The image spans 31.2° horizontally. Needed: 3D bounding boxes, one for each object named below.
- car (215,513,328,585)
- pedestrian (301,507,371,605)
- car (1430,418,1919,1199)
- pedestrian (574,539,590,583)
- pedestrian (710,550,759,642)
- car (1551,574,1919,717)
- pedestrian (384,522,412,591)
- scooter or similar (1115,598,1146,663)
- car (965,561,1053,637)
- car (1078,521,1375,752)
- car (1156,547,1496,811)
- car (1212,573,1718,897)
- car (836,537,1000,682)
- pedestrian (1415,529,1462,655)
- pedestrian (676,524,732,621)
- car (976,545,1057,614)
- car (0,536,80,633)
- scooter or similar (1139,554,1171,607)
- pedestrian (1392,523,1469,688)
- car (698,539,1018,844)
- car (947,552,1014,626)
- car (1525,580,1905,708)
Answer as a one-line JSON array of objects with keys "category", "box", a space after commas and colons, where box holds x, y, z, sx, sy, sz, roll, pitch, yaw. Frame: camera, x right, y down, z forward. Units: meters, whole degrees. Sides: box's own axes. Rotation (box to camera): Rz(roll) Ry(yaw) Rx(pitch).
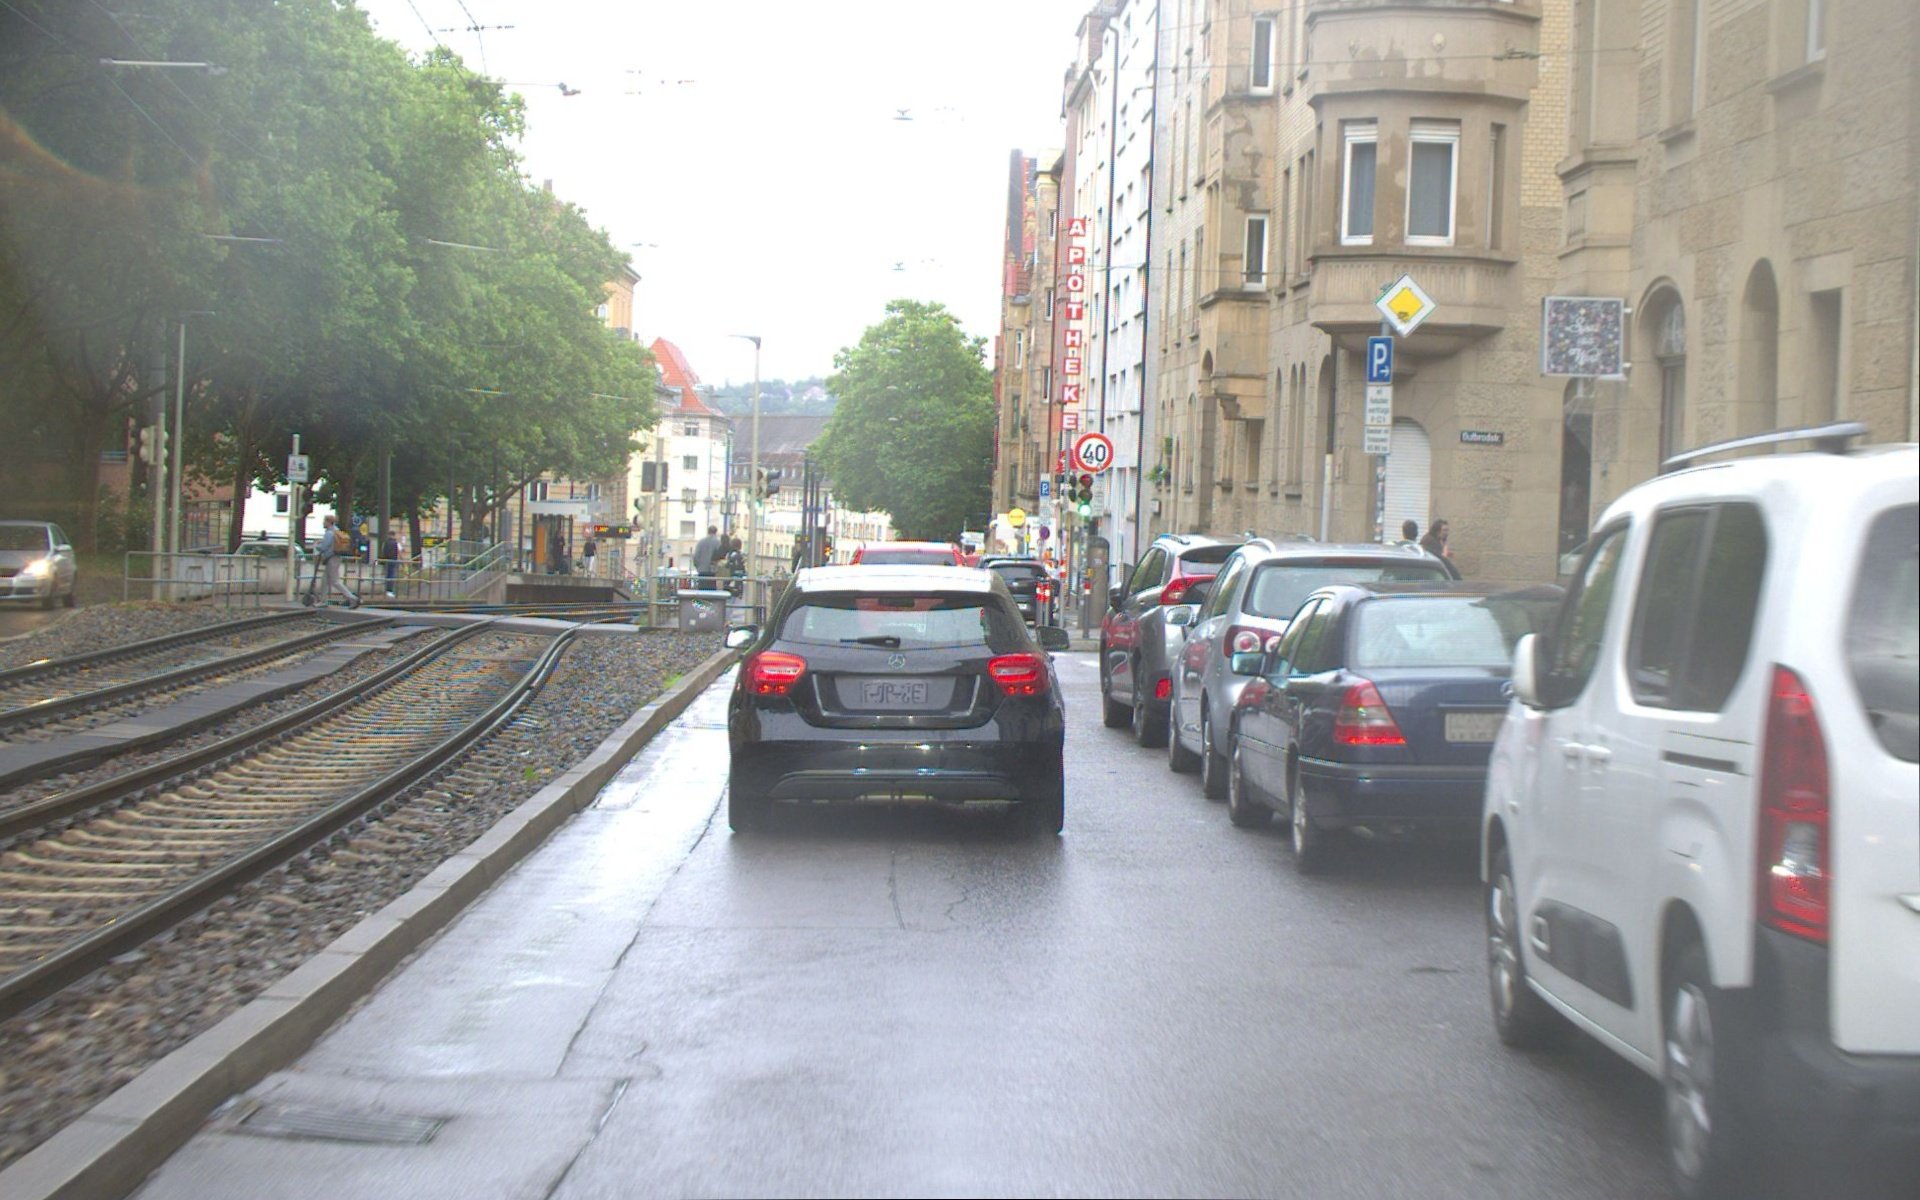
[{"category": "car", "box": [-17.449, -1.291, 87.286, 1.993, 1.733, 4.000, 2, 1, 0]}, {"category": "pedestrian", "box": [-11.288, -0.797, 62.206, 1.054, 1.713, 0.904, 2, 1, 0]}, {"category": "car", "box": [2.502, 0.482, 9.354, 1.828, 1.744, 4.467, 1, 1, 0]}, {"category": "pedestrian", "box": [-15.002, -1.541, 136.441, 0.518, 1.711, 0.551, 3, 0, -1]}, {"category": "pedestrian", "box": [-4.020, -0.081, 61.339, 0.806, 1.628, 0.892, 0, 1, 0]}, {"category": "car", "box": [8.770, 0.478, 37.231, 4.450, 1.479, 1.864, 0, 1, 2]}, {"category": "pedestrian", "box": [-14.354, -1.108, 87.765, 0.534, 1.748, 0.607, 3, 0, -1]}, {"category": "scooter or similar", "box": [3.600, 0.636, 72.505, 0.448, 1.316, 1.778, 0, 1, -4]}, {"category": "car", "box": [1.071, -0.051, 76.547, 1.827, 1.612, 3.864, 0, 1, -1]}, {"category": "car", "box": [2.065, 0.246, 27.809, 1.766, 1.662, 4.333, 2, 1, -3]}, {"category": "car", "box": [2.283, 0.446, 22.366, 1.693, 1.524, 4.000, 2, 1, -1]}, {"category": "car", "box": [2.375, 0.575, 17.276, 1.717, 1.342, 4.462, 2, 1, -2]}, {"category": "car", "box": [-0.506, 0.081, 40.205, 1.785, 1.576, 4.000, 1, 1, -1]}, {"category": "pedestrian", "box": [6.496, -0.111, 46.670, 0.548, 1.682, 0.626, 1, 0, 3]}, {"category": "pedestrian", "box": [-5.290, -0.571, 71.014, 1.137, 1.991, 1.173, 0, 1, -5]}, {"category": "car", "box": [1.320, -0.511, 81.373, 1.759, 1.573, 4.000, 0, 1, -1]}, {"category": "car", "box": [-15.579, -0.299, 56.574, 1.816, 1.499, 4.635, 1, 1, -11]}, {"category": "scooter or similar", "box": [4.941, -0.510, 87.118, 0.448, 1.316, 1.778, 0, 1, -8]}, {"category": "pedestrian", "box": [5.149, 0.053, 37.649, 0.694, 1.781, 0.758, -1, 1, -2]}, {"category": "car", "box": [-0.561, 0.438, 19.062, 1.580, 1.499, 3.575, 1, 1, -2]}, {"category": "car", "box": [0.545, -0.321, 96.351, 1.759, 2.007, 4.000, 0, 1, -1]}, {"category": "car", "box": [9.363, 0.536, 42.886, 4.336, 1.526, 1.891, 0, 1, 1]}]
